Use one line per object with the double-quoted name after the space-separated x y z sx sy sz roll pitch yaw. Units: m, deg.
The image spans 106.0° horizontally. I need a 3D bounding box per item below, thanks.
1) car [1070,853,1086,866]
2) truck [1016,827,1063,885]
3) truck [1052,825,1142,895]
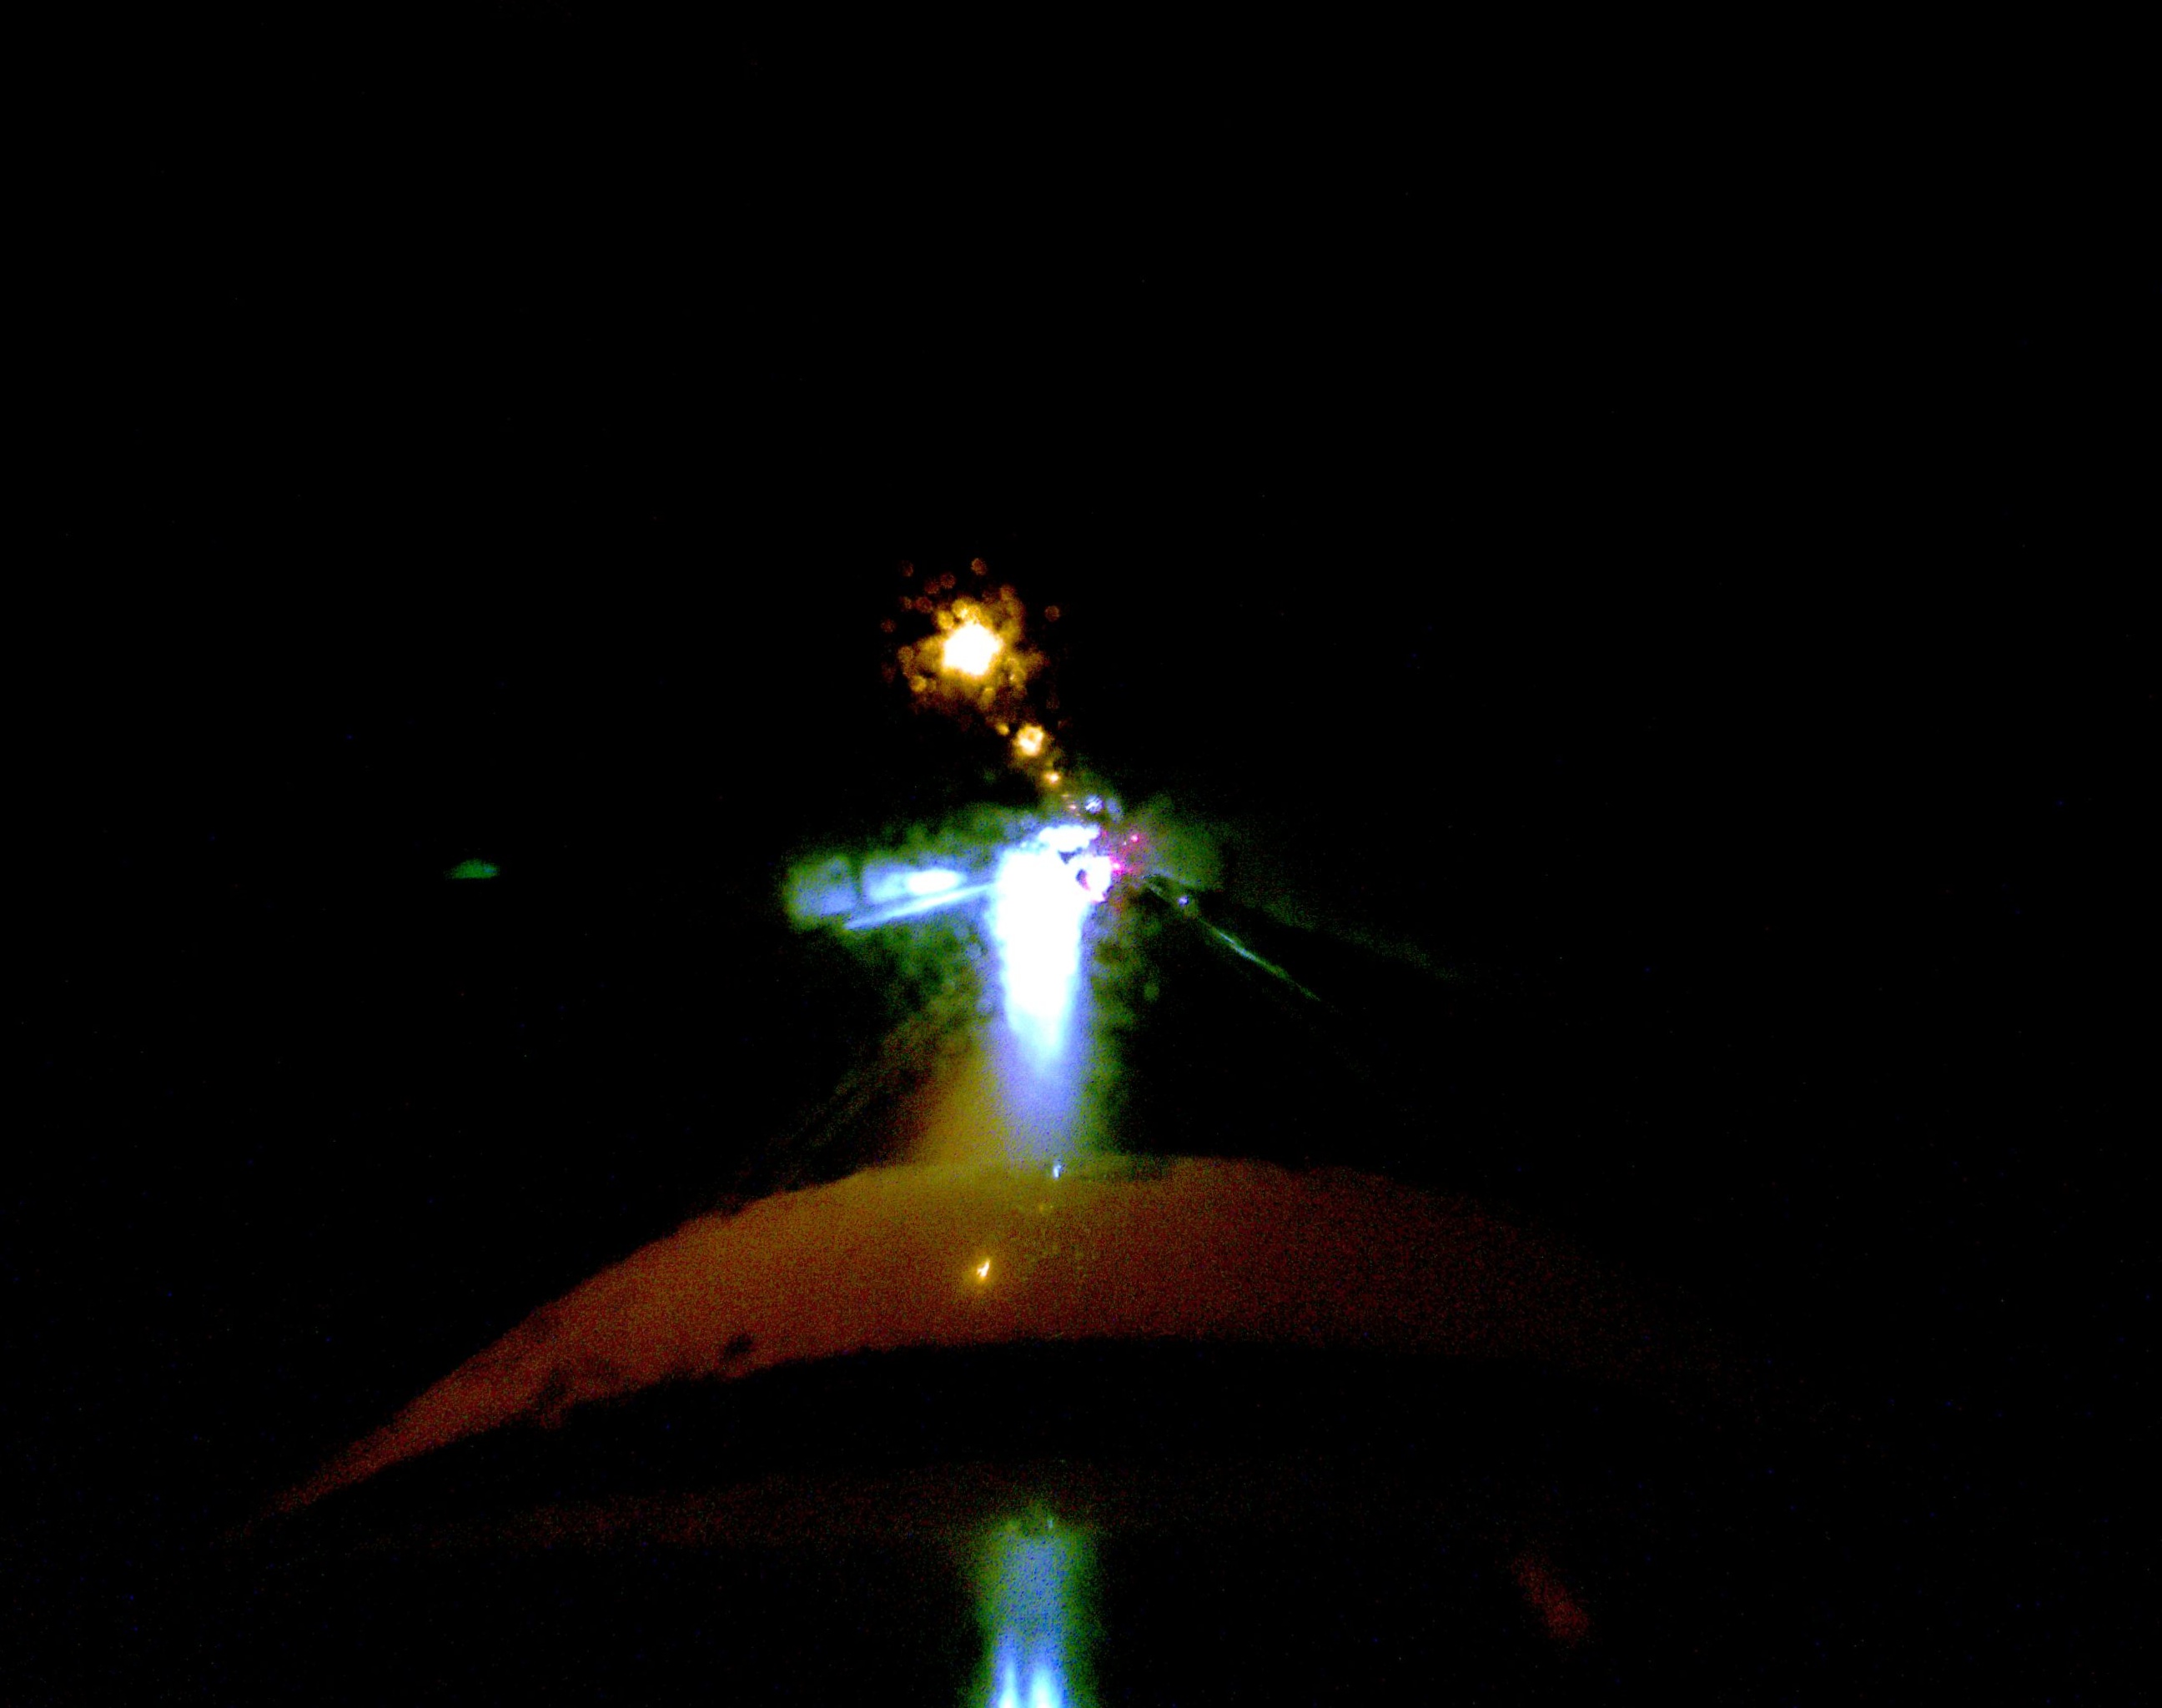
-0.321 0.629 96.702 1.788 1.482 3.869 -1 0 0 "car"
-2.263 0.088 46.240 2.272 3.016 6.594 -1 0 0 "truck"
0.802 0.246 37.078 3.522 2.693 8.959 -2 0 2 "truck"
